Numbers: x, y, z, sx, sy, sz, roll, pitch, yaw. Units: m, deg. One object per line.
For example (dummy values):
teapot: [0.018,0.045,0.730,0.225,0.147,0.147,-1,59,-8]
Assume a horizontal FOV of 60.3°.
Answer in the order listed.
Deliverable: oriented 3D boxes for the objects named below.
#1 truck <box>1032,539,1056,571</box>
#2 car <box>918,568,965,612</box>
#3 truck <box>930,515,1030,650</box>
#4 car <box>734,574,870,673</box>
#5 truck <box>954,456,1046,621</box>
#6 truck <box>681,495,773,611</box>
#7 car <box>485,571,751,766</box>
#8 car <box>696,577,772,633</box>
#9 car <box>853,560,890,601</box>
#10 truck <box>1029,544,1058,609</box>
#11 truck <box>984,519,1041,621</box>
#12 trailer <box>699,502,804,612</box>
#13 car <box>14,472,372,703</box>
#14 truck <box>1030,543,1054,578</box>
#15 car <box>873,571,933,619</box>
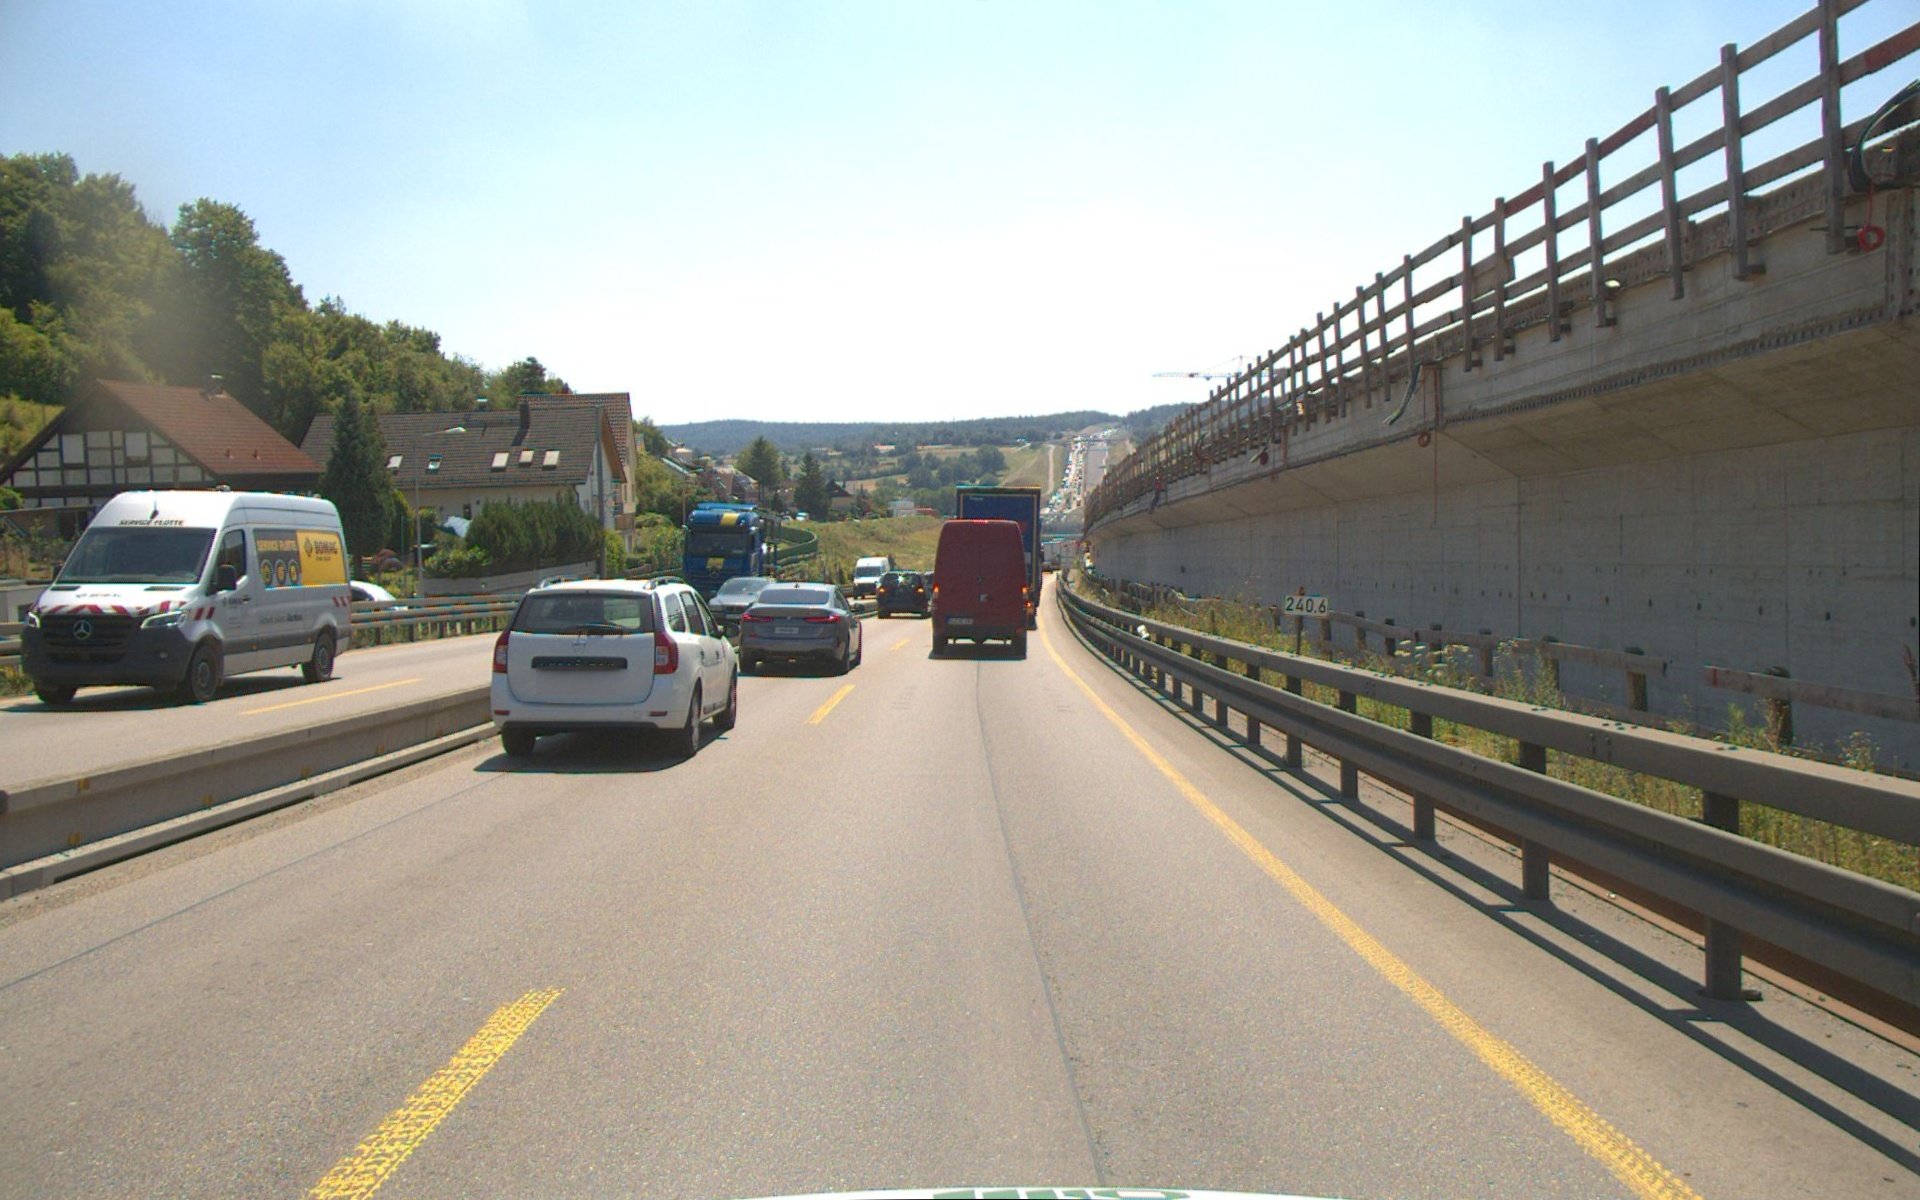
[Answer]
truck: [12.532,-6.621,246.194,3.394,4.458,8.560,0,-1,4]
car: [-0.775,-0.432,72.700,1.693,1.870,4.002,0,0,5]
truck: [0.390,-0.324,34.275,1.953,2.624,3.999,0,-1,0]
car: [-2.556,0.377,27.657,1.757,1.511,4.050,1,0,2]
truck: [1.274,-1.761,54.094,2.729,4.900,9.685,0,-1,1]
truck: [-8.454,-1.617,60.474,2.456,4.034,5.176,0,-1,2]
car: [-3.048,0.567,15.583,1.618,1.509,4.265,-2,0,-1]
car: [-6.243,0.099,46.148,1.513,1.489,4.628,0,1,0]
car: [-5.877,-1.263,110.627,1.952,2.551,5.517,0,-1,3]
truck: [5.927,-1.633,116.438,1.951,4.458,4.002,0,-1,4]
truck: [2.592,-1.379,84.067,2.729,4.900,9.685,0,-1,1]
trailer: [-8.260,-1.564,67.035,2.456,4.034,11.401,0,-1,2]
car: [-9.881,-0.177,22.004,1.964,2.649,5.979,0,1,0]
truck: [11.080,-5.277,223.424,3.004,4.458,8.561,0,-1,4]
car: [-1.996,-0.142,58.873,1.772,1.636,3.720,0,-1,4]
